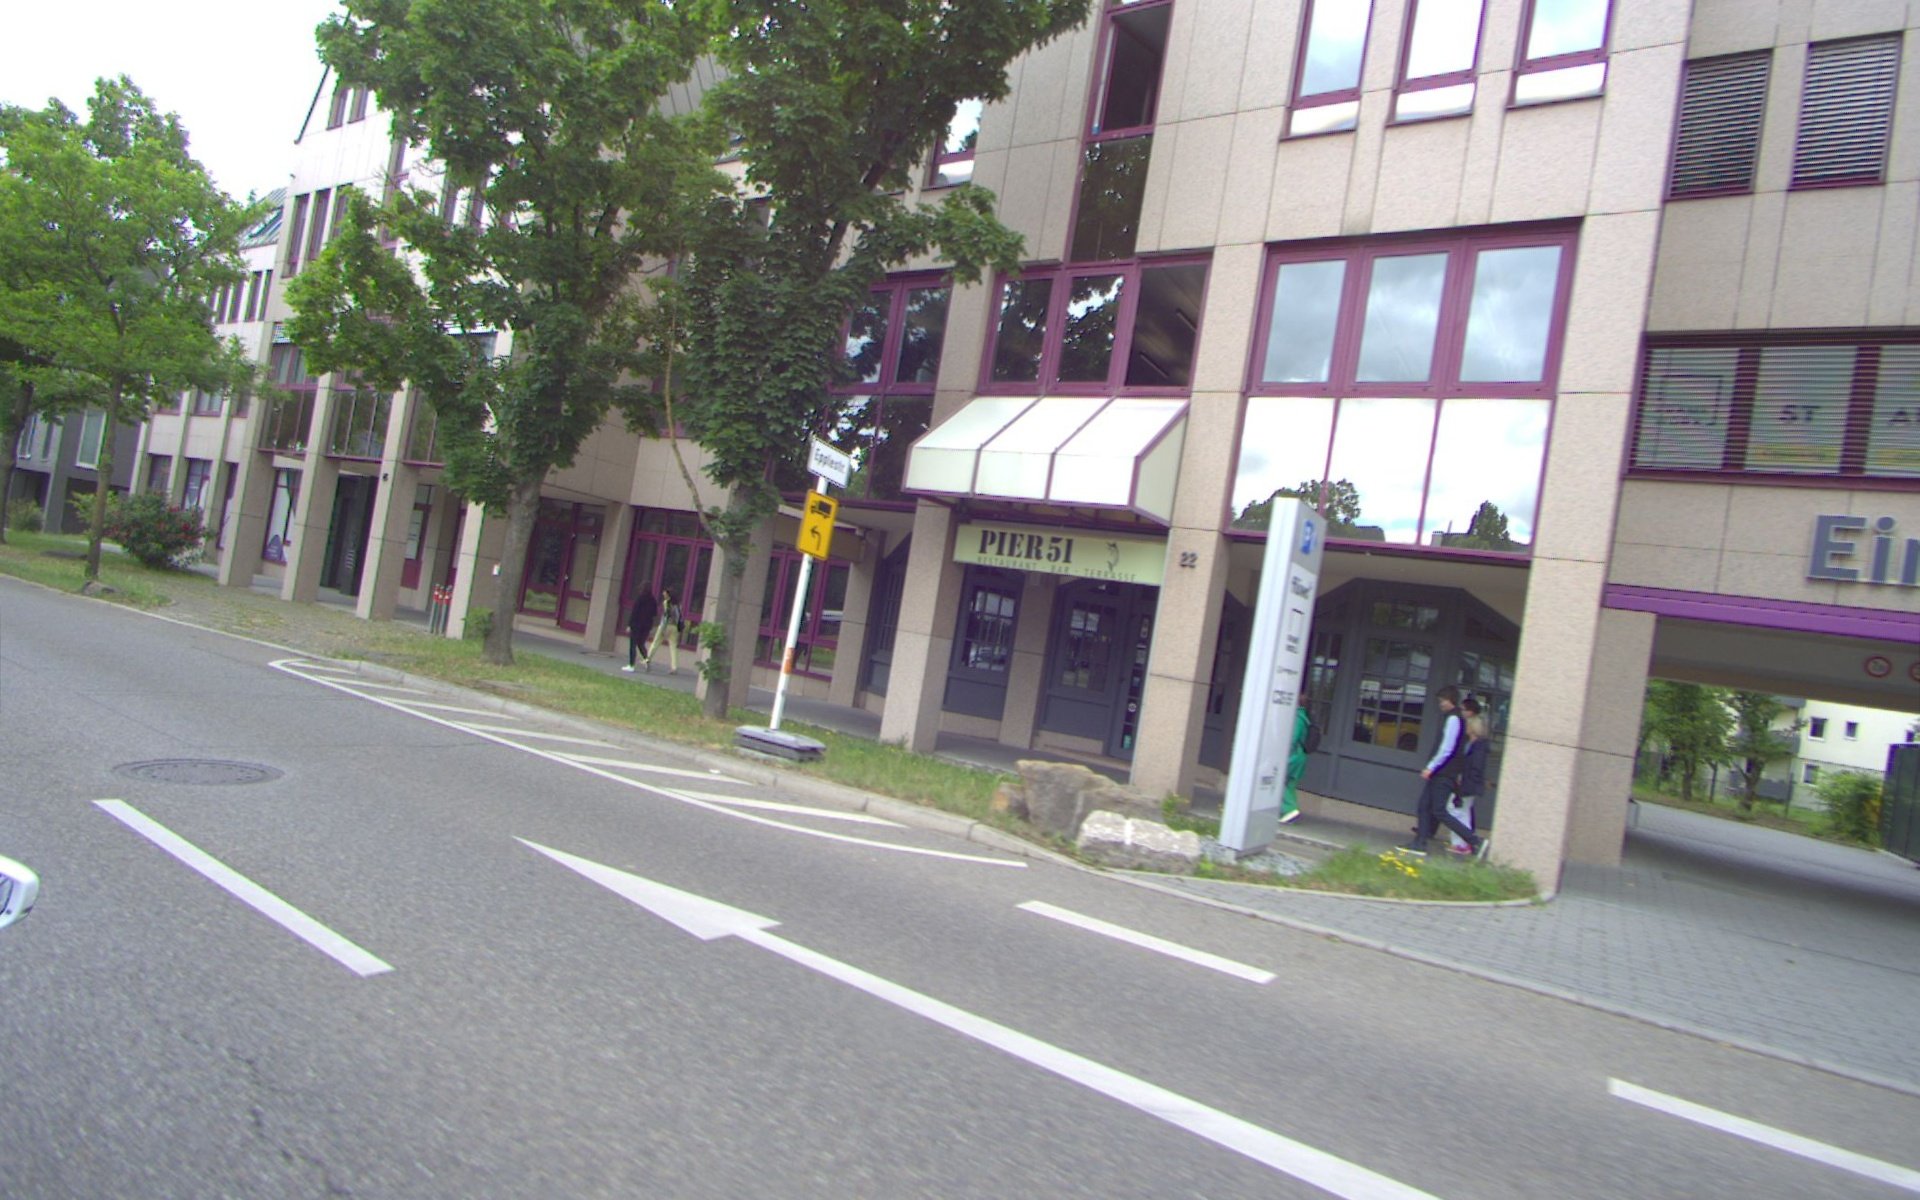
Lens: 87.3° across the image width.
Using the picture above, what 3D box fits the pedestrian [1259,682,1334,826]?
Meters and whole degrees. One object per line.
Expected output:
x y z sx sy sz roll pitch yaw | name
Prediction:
3.938 1.776 11.760 0.535 1.568 0.561 7 0 34 | pedestrian

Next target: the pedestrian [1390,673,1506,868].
5.118 1.752 10.549 0.829 1.848 0.658 7 0 34 | pedestrian

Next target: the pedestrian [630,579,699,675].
-5.751 0.526 19.583 0.954 1.724 0.596 7 -2 35 | pedestrian

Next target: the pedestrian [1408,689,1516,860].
5.592 1.906 11.200 0.829 1.711 0.658 7 0 34 | pedestrian

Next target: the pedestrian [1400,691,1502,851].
5.825 1.995 11.926 0.829 1.711 0.658 7 0 34 | pedestrian

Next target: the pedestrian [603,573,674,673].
-6.021 0.428 18.823 0.954 1.724 0.596 7 -2 35 | pedestrian
